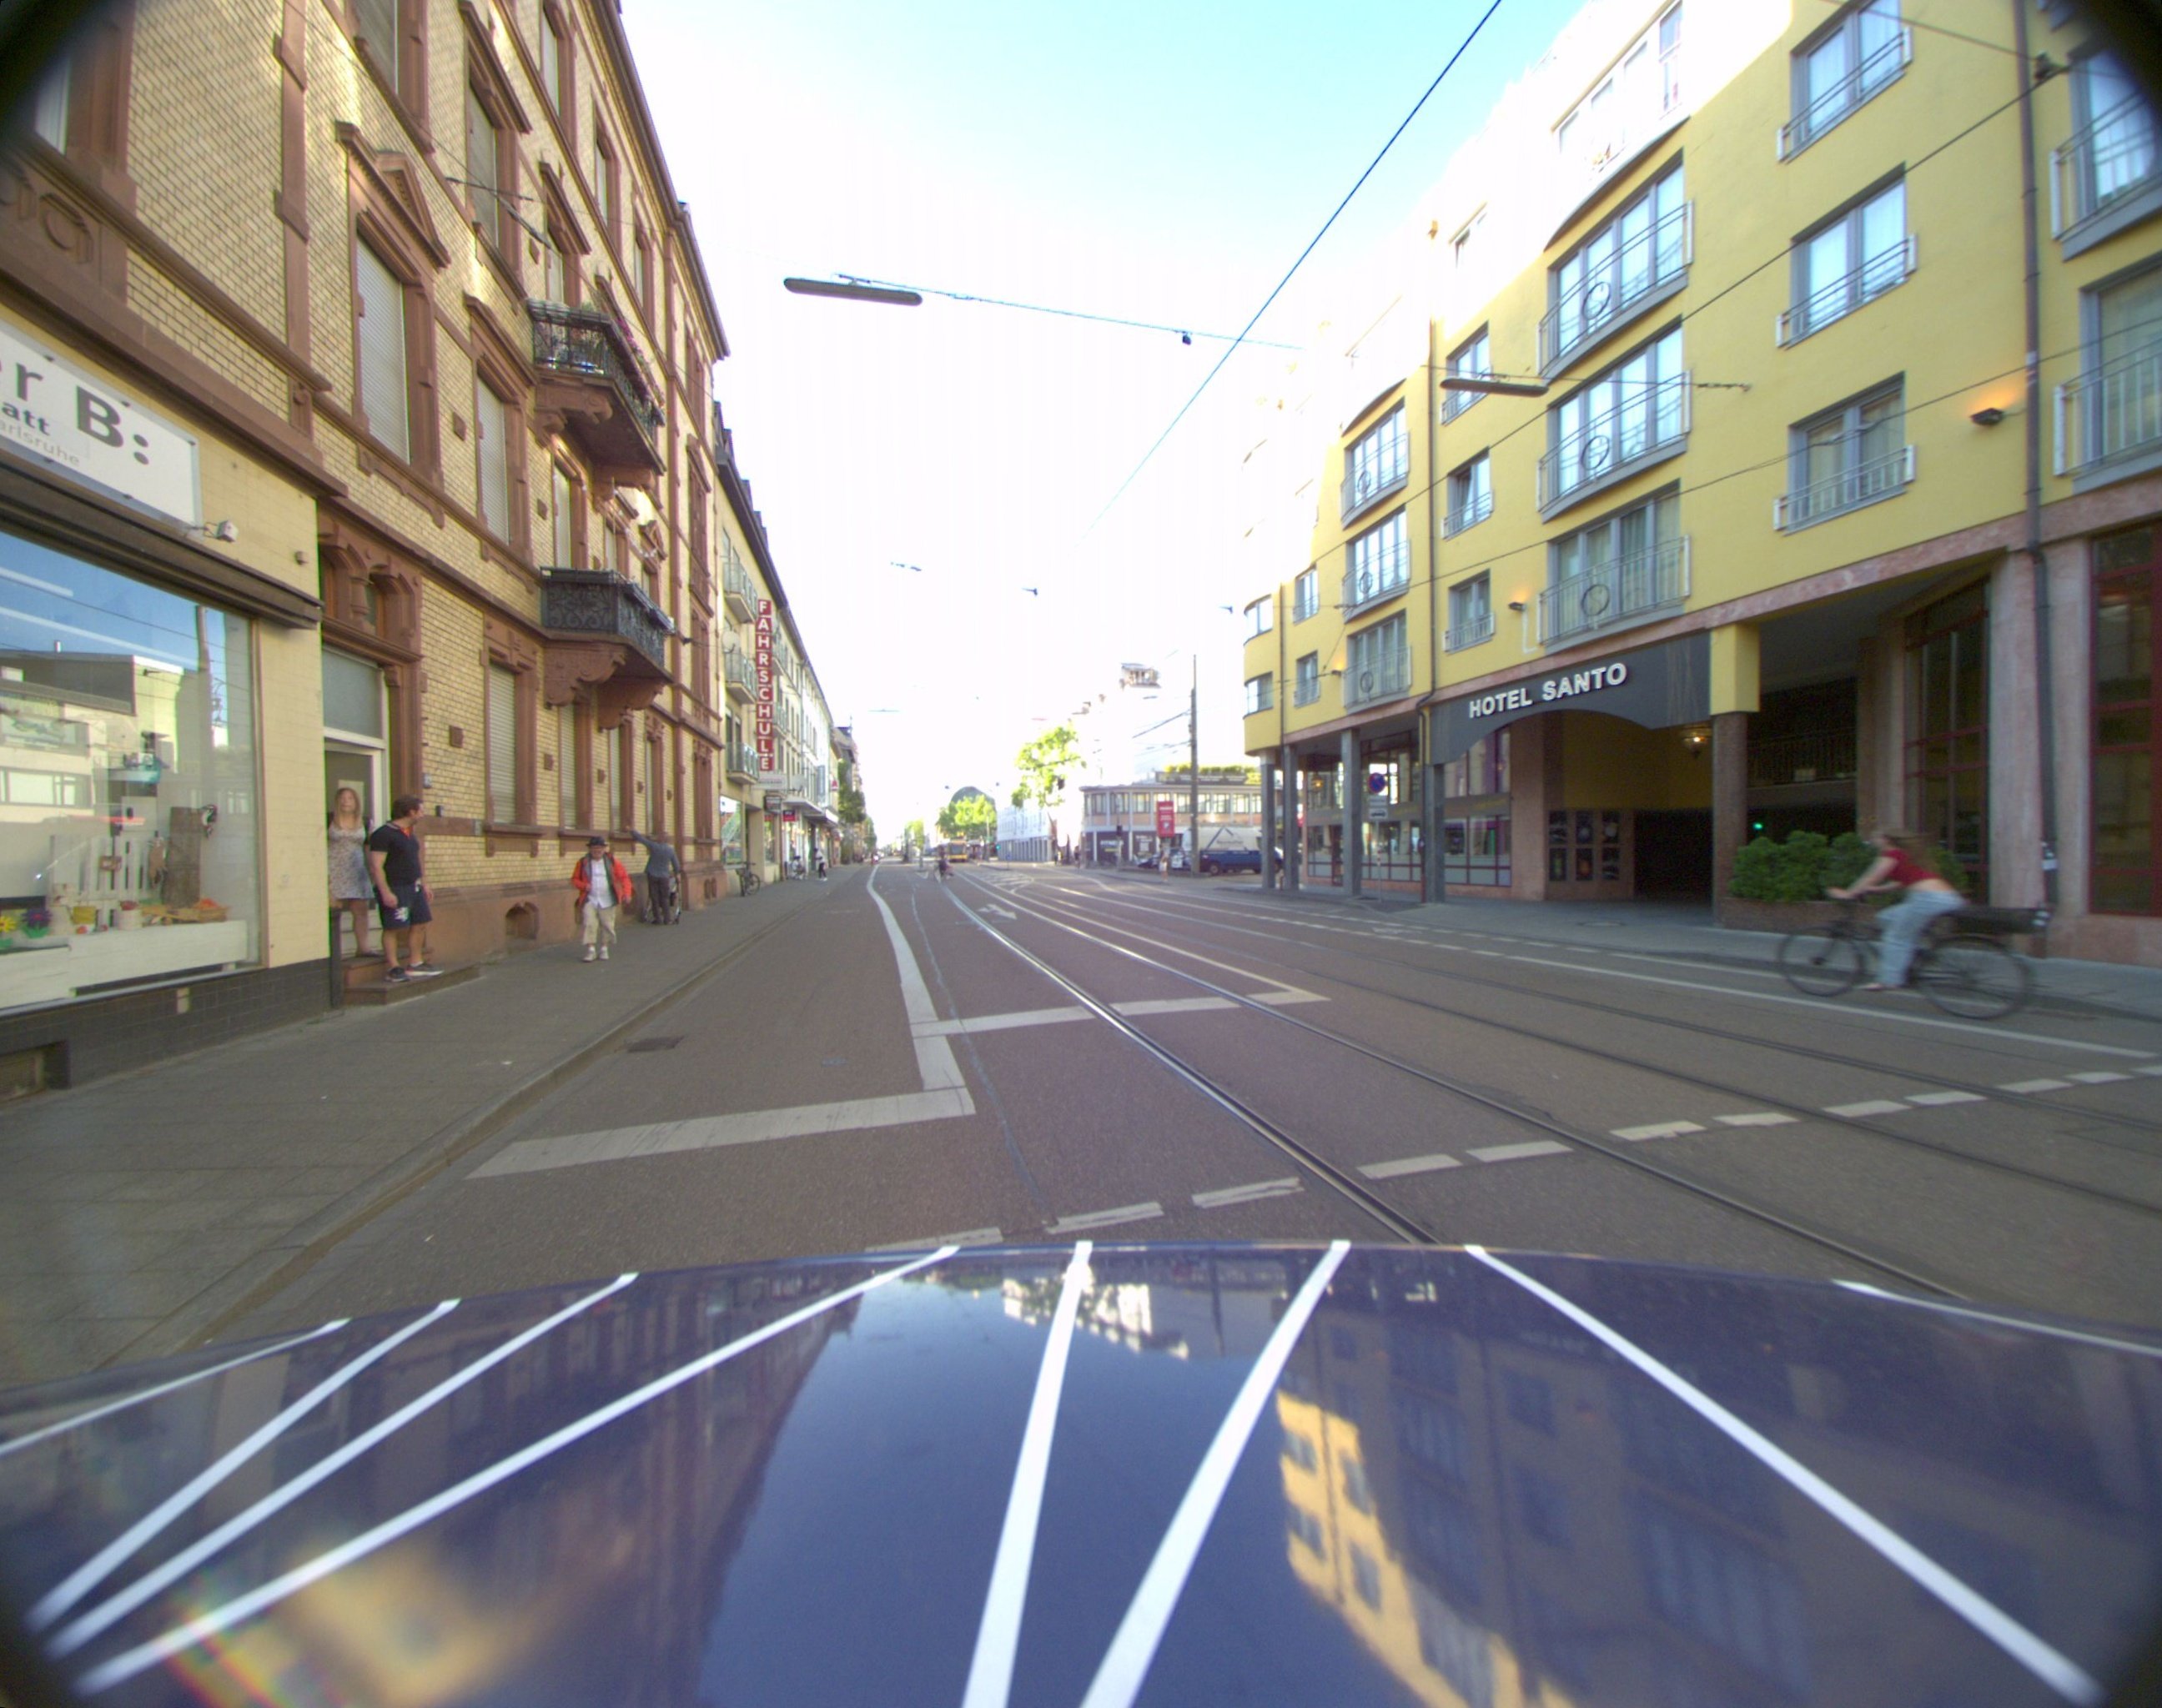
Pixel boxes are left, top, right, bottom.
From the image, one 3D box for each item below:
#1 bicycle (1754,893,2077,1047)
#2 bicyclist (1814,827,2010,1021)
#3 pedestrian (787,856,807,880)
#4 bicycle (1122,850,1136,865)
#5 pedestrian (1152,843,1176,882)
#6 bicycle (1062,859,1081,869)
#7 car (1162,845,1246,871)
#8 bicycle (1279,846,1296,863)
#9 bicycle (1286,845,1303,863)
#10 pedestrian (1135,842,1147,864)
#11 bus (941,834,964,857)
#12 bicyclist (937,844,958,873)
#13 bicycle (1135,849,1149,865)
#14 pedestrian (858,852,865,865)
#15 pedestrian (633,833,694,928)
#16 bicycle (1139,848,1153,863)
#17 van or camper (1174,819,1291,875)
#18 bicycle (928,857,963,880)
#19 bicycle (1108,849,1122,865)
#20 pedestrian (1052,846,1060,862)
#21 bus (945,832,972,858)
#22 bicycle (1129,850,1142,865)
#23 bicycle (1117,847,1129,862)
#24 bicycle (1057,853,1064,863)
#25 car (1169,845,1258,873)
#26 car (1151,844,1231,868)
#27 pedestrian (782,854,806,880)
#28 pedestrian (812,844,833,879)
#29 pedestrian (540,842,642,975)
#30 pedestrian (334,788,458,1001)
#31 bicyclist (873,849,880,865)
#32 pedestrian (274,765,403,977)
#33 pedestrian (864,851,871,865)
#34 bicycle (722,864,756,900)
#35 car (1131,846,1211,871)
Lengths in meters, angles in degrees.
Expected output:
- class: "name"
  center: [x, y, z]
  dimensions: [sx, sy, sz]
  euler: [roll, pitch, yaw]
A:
- class: "bicycle"
  center: [7.550, 0.973, 7.033]
  dimensions: [0.699, 1.103, 1.895]
  euler: [-1, 1, -15]
- class: "bicyclist"
  center: [7.558, 0.583, 6.959]
  dimensions: [0.704, 1.634, 0.989]
  euler: [-1, 1, -15]
- class: "pedestrian"
  center: [-15.054, 0.727, 40.282]
  dimensions: [0.708, 1.167, 1.013]
  euler: [5, -1, -33]
- class: "bicycle"
  center: [3.784, 0.268, 59.797]
  dimensions: [0.450, 1.180, 1.829]
  euler: [-1, 0, -17]
- class: "pedestrian"
  center: [3.977, 0.400, 36.423]
  dimensions: [0.836, 1.822, 0.908]
  euler: [-1, 1, -14]
- class: "bicycle"
  center: [-1.008, 0.995, 77.921]
  dimensions: [1.851, 0.906, 0.389]
  euler: [-2, -4, -9]
- class: "car"
  center: [7.375, 0.247, 45.561]
  dimensions: [4.605, 1.467, 1.877]
  euler: [-1, 0, -14]
- class: "bicycle"
  center: [14.494, 0.058, 53.347]
  dimensions: [0.433, 1.180, 1.830]
  euler: [-1, 0, -7]
- class: "bicycle"
  center: [14.974, 0.006, 53.311]
  dimensions: [0.433, 1.180, 1.830]
  euler: [-1, 0, -7]
- class: "pedestrian"
  center: [4.710, -0.052, 59.662]
  dimensions: [0.683, 1.687, 0.682]
  euler: [-1, 1, -16]
- class: "bus"
  center: [-20.796, -1.387, 122.358]
  dimensions: [2.822, 3.547, 13.660]
  euler: [-1, 1, -13]
- class: "bicyclist"
  center: [-7.388, 0.231, 42.087]
  dimensions: [0.689, 1.541, 0.839]
  euler: [6, 6, 45]
- class: "bicycle"
  center: [4.771, 0.235, 59.884]
  dimensions: [0.450, 1.180, 1.829]
  euler: [-1, 0, -17]
- class: "pedestrian"
  center: [-27.164, 0.516, 94.012]
  dimensions: [0.651, 1.569, 0.681]
  euler: [-1, 1, -21]
- class: "pedestrian"
  center: [-8.214, 0.518, 14.990]
  dimensions: [0.808, 1.789, 0.760]
  euler: [3, -1, -14]
- class: "bicycle"
  center: [5.115, 0.116, 59.955]
  dimensions: [0.450, 1.180, 1.829]
  euler: [-1, 0, -17]
- class: "van or camper"
  center: [8.045, -0.380, 40.511]
  dimensions: [5.627, 2.810, 2.312]
  euler: [-1, 0, -13]
- class: "bicycle"
  center: [-7.491, 0.799, 42.045]
  dimensions: [0.681, 1.165, 1.835]
  euler: [6, 6, 44]
- class: "bicycle"
  center: [2.677, 0.234, 59.783]
  dimensions: [0.447, 1.180, 1.828]
  euler: [-1, 0, -20]
- class: "pedestrian"
  center: [-2.564, 0.013, 79.198]
  dimensions: [0.631, 1.706, 0.826]
  euler: [0, 1, 13]
- class: "bus"
  center: [-17.728, -1.303, 109.247]
  dimensions: [2.821, 3.547, 13.661]
  euler: [-1, 1, -13]
- class: "bicycle"
  center: [4.306, 0.296, 59.970]
  dimensions: [0.444, 1.180, 1.829]
  euler: [-1, 0, -17]
- class: "bicycle"
  center: [3.268, 0.038, 59.491]
  dimensions: [0.442, 1.180, 1.829]
  euler: [-1, 0, -15]
- class: "bicycle"
  center: [-2.115, 0.409, 78.093]
  dimensions: [0.389, 0.907, 1.849]
  euler: [-2, 1, -13]
- class: "car"
  center: [7.483, 0.267, 42.946]
  dimensions: [4.605, 1.467, 1.877]
  euler: [-1, 0, -14]
- class: "car"
  center: [6.872, 0.120, 47.707]
  dimensions: [4.605, 1.467, 1.877]
  euler: [-1, 0, -14]
- class: "pedestrian"
  center: [-14.815, 0.658, 39.241]
  dimensions: [0.704, 1.248, 0.833]
  euler: [4, -1, 41]
- class: "pedestrian"
  center: [-13.725, 0.421, 40.309]
  dimensions: [0.706, 1.801, 0.679]
  euler: [5, -1, 1]
- class: "pedestrian"
  center: [-6.356, 0.699, 9.910]
  dimensions: [0.801, 1.618, 0.824]
  euler: [4, -2, -16]
- class: "pedestrian"
  center: [-6.411, 0.374, 7.145]
  dimensions: [0.516, 1.894, 0.594]
  euler: [4, -2, -13]
- class: "bicyclist"
  center: [-21.230, 0.310, 78.933]
  dimensions: [0.678, 1.604, 0.836]
  euler: [-2, 1, -16]
- class: "pedestrian"
  center: [-6.992, 0.167, 7.188]
  dimensions: [0.516, 1.894, 0.594]
  euler: [4, -2, -13]
- class: "pedestrian"
  center: [-26.468, 0.486, 94.204]
  dimensions: [0.651, 1.706, 0.805]
  euler: [-1, 1, -12]
- class: "bicycle"
  center: [-10.869, 0.871, 24.221]
  dimensions: [0.557, 1.055, 2.308]
  euler: [1, 0, -14]
- class: "car"
  center: [5.986, 0.276, 50.698]
  dimensions: [4.913, 1.574, 1.877]
  euler: [-1, 0, -14]
